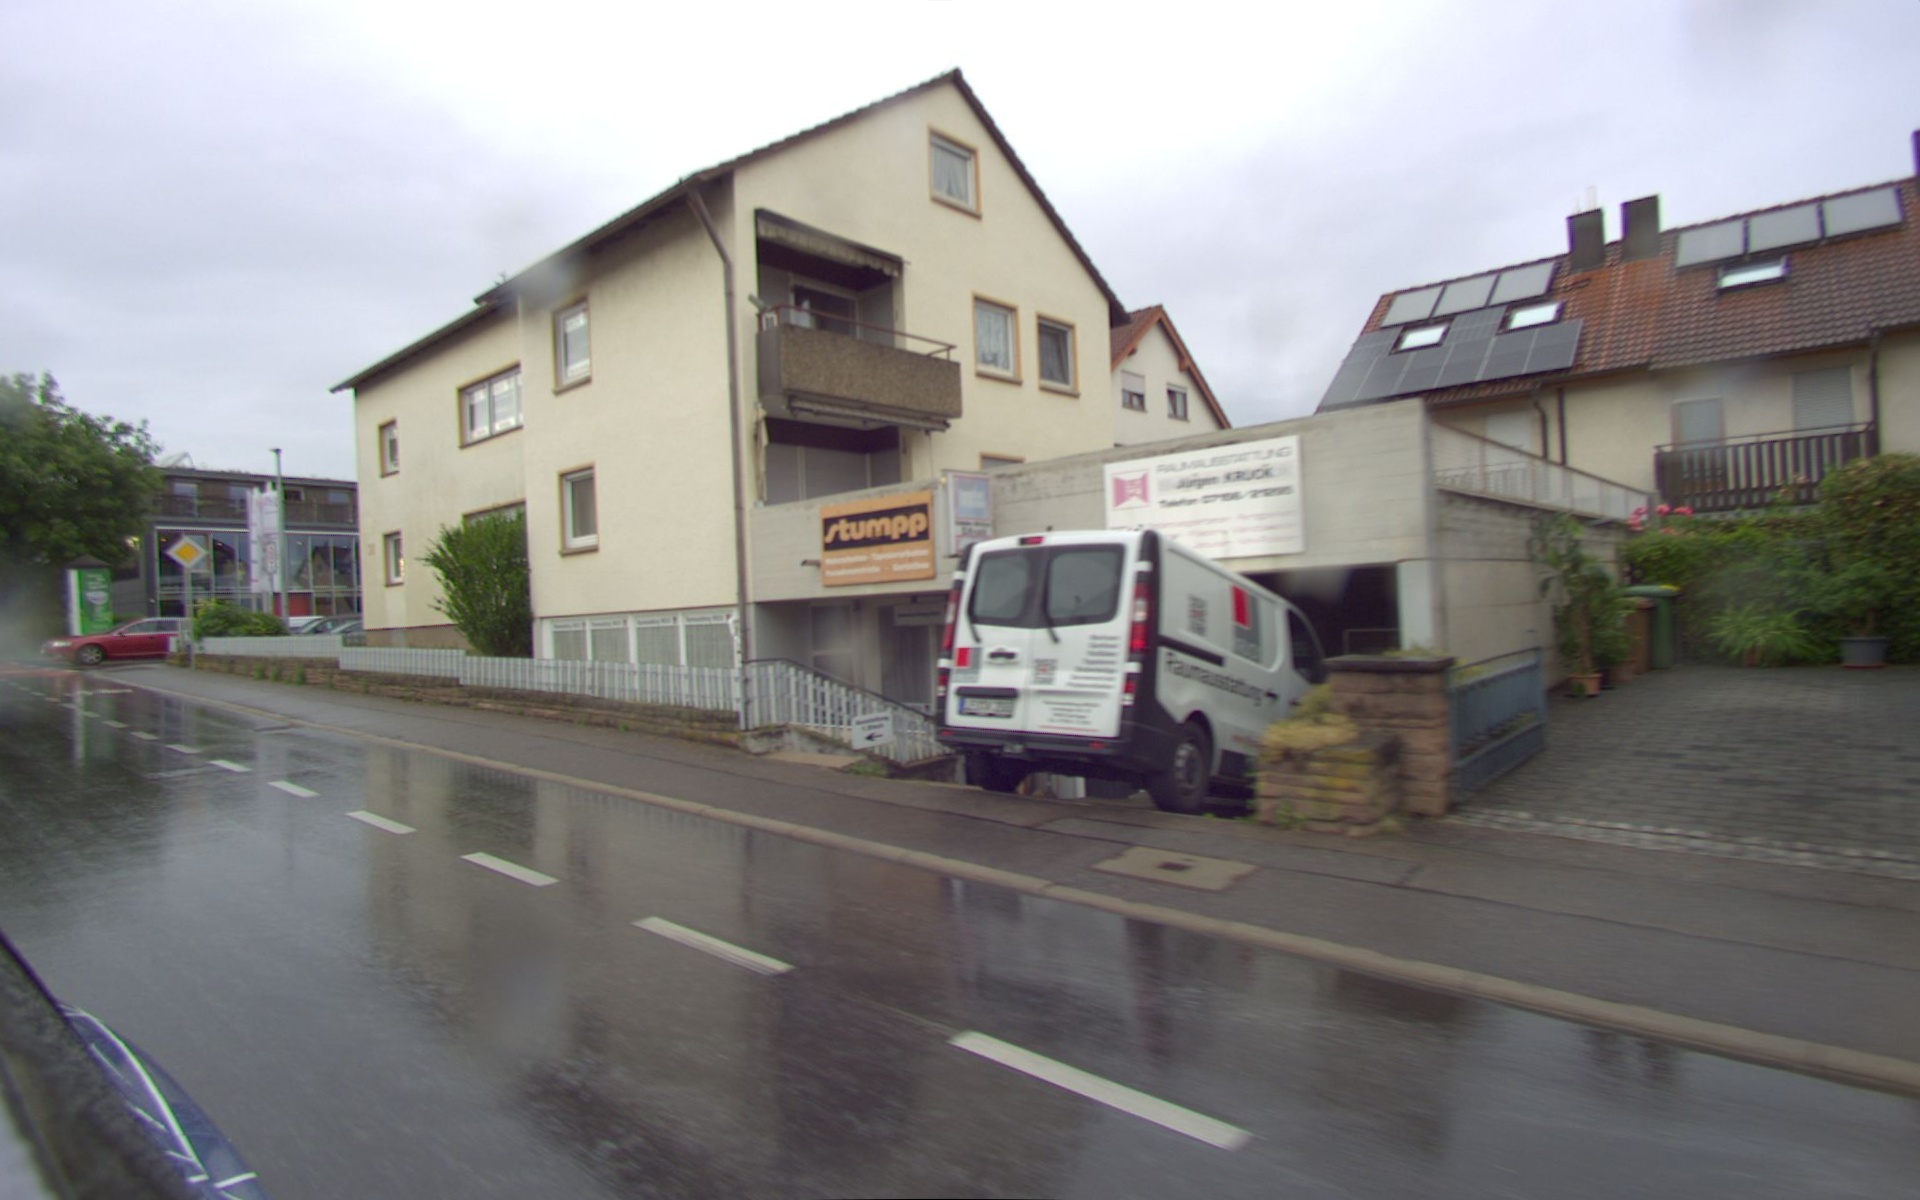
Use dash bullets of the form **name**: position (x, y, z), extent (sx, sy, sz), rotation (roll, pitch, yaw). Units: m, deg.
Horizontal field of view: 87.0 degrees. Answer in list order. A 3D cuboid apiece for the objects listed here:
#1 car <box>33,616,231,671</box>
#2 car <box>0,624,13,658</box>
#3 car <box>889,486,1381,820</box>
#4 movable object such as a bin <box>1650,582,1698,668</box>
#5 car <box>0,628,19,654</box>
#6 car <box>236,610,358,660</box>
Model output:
- **car**: position (-26.218, 1.332, 32.177), extent (1.872, 1.579, 4.598), rotation (-2, -2, 38)
- **car**: position (-43.978, 1.836, 44.742), extent (1.250, 1.466, 2.884), rotation (0, -1, 34)
- **car**: position (1.788, 0.742, 8.764), extent (2.158, 2.028, 4.508), rotation (-5, -14, 40)
- **movable object such as a bin**: position (9.066, 0.312, 12.848), extent (0.387, 1.046, 0.444), rotation (-5, -1, 41)
- **car**: position (-49.928, 2.102, 50.669), extent (1.577, 1.294, 3.868), rotation (-3, -2, 34)
- **car**: position (-31.983, 1.674, 48.919), extent (2.146, 2.028, 4.365), rotation (-5, 0, 31)
